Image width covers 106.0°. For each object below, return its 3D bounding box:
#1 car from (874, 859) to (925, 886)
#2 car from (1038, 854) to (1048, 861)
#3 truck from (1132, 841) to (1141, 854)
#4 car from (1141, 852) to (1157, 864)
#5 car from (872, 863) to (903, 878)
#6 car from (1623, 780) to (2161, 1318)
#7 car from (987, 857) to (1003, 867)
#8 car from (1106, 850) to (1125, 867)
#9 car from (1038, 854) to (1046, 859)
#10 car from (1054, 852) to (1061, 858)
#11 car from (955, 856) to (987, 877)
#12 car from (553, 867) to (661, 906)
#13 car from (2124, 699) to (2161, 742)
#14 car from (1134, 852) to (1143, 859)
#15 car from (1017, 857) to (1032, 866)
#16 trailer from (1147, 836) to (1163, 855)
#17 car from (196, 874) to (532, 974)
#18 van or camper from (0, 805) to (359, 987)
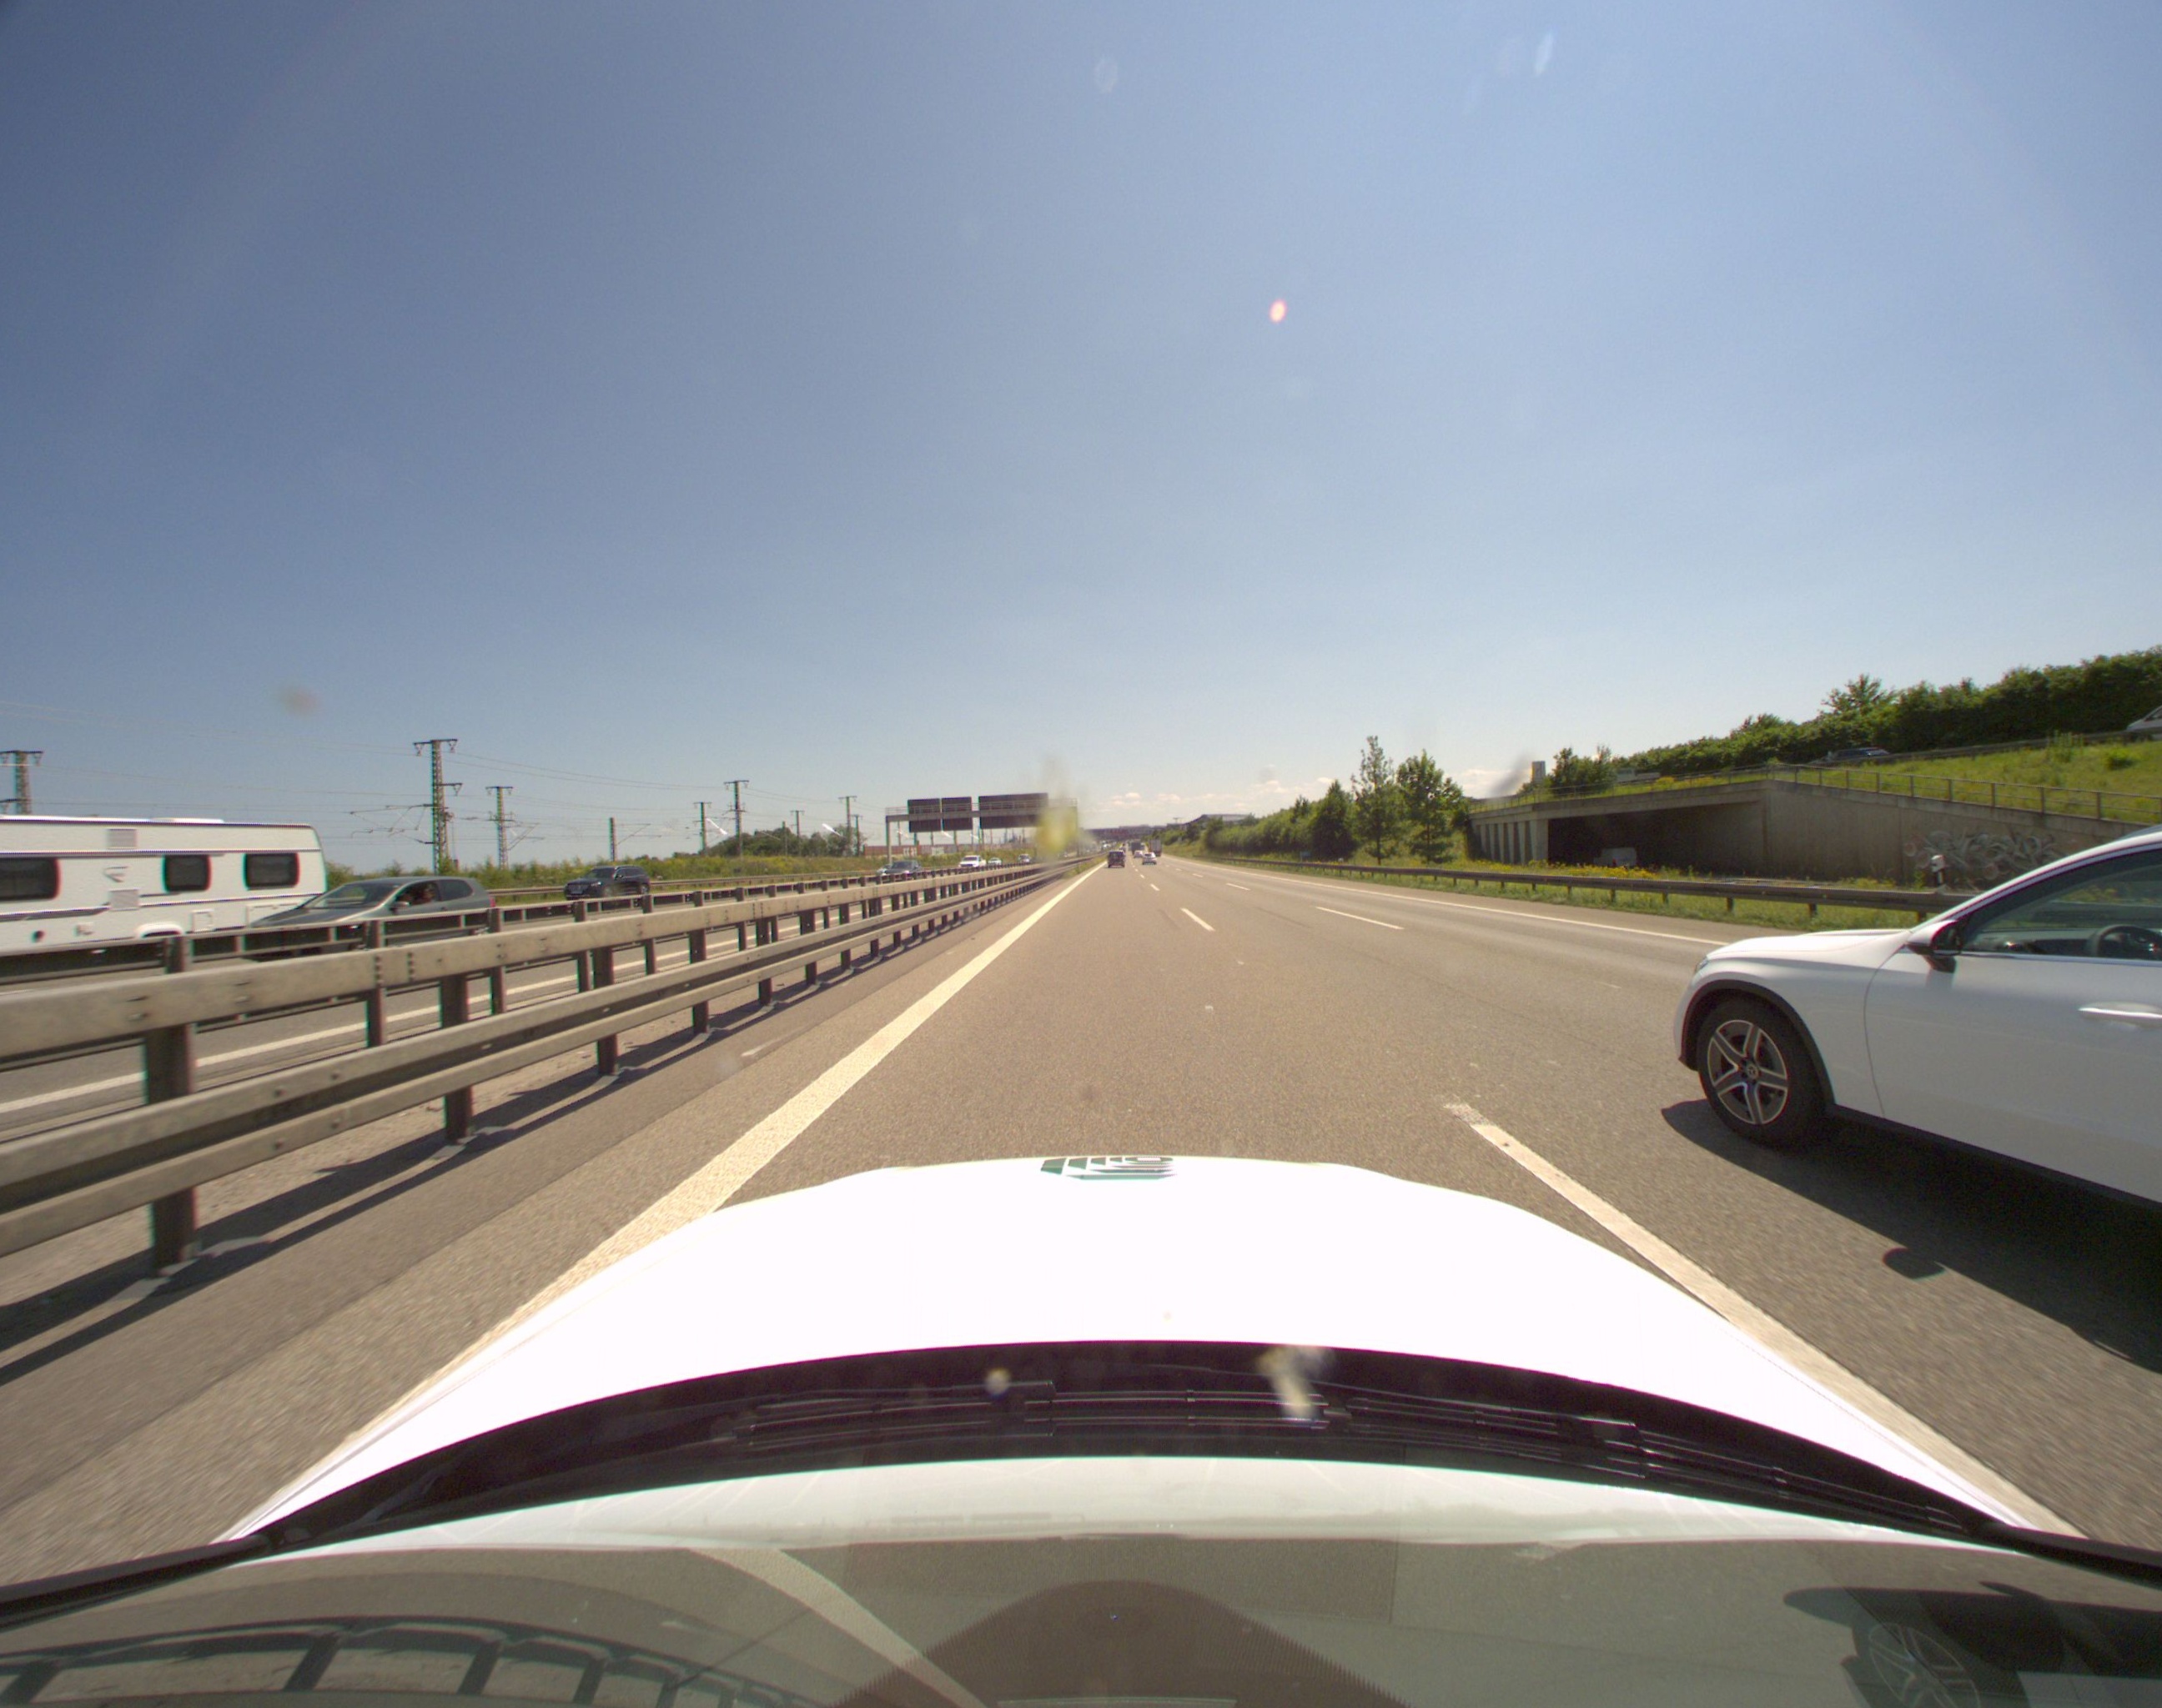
[{"bbox_3d":[-11.267,1.110,50.854,1.986,1.574,4.551,-2,0,1],"label":"car"},{"bbox_3d":[-9.790,0.859,209.250,1.985,1.726,4.518,-1,0,4],"label":"car"},{"bbox_3d":[14.460,-1.674,212.572,2.345,3.416,6.063,-2,1,3],"label":"truck"},{"bbox_3d":[8.566,0.479,101.786,1.871,1.526,4.007,-1,0,6],"label":"car"},{"bbox_3d":[-19.603,1.647,82.654,1.986,1.311,4.165,-2,0,2],"label":"car"},{"bbox_3d":[4.267,0.584,2.715,1.898,1.656,4.637,-1,0,1],"label":"car"},{"bbox_3d":[-14.695,1.297,139.093,1.985,1.576,4.481,-2,0,3],"label":"car"},{"bbox_3d":[3.714,0.461,86.388,1.873,1.775,4.003,-2,0,3],"label":"car"},{"bbox_3d":[-11.592,0.671,239.419,1.986,1.470,4.002,-1,0,2],"label":"car"},{"bbox_3d":[-7.019,0.349,243.805,1.948,1.595,3.999,-1,0,0],"label":"car"},{"bbox_3d":[-10.197,1.141,75.860,1.986,1.831,5.602,-2,0,2],"label":"car"},{"bbox_3d":[-22.368,1.486,38.678,1.985,1.597,4.938,-2,0,3],"label":"car"},{"bbox_3d":[51.470,-6.343,37.151,1.987,1.807,4.526,0,-1,0],"label":"car"},{"bbox_3d":[11.808,0.314,166.535,1.872,1.526,4.005,-1,0,4],"label":"car"},{"bbox_3d":[-9.957,1.310,144.350,1.985,1.576,4.481,-2,0,3],"label":"car"},{"bbox_3d":[16.878,-1.979,186.863,3.164,4.059,9.448,-3,1,3],"label":"trailer"},{"bbox_3d":[-13.202,1.191,15.567,1.986,1.509,4.891,0,0,2],"label":"car"},{"bbox_3d":[-16.863,0.642,13.763,2.328,2.657,7.608,-1,0,2],"label":"van or camper"}]
